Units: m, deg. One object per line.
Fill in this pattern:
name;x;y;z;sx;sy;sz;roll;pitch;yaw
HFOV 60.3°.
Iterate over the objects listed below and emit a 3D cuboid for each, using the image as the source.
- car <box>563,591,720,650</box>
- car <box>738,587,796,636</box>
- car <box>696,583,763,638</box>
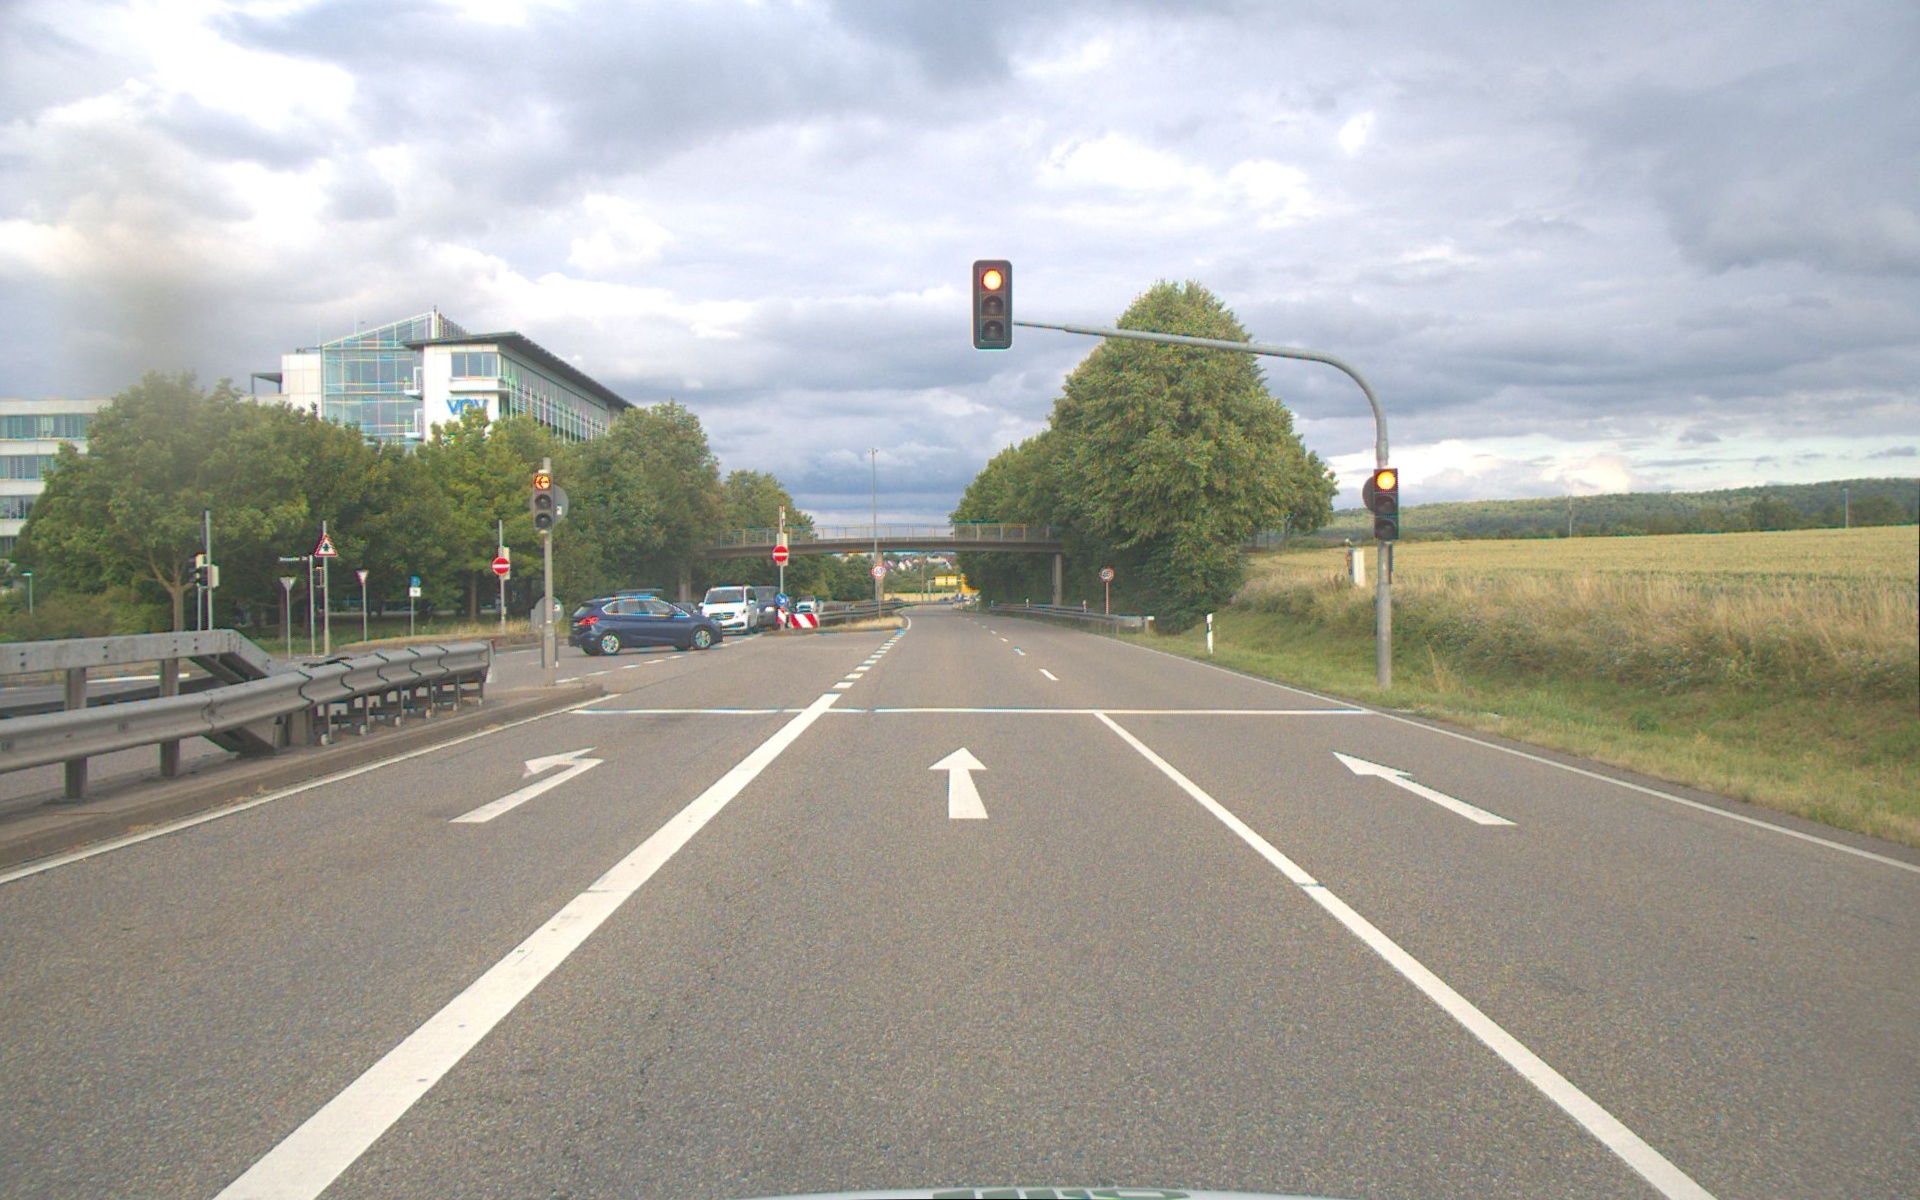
car;-8.870;0.575;46.100;3.943;1.579;1.868;1;0;-29
car;-8.477;0.486;73.035;2.041;2.049;5.214;1;0;-2
car;-9.052;0.405;65.293;2.041;2.049;5.214;1;0;-2
